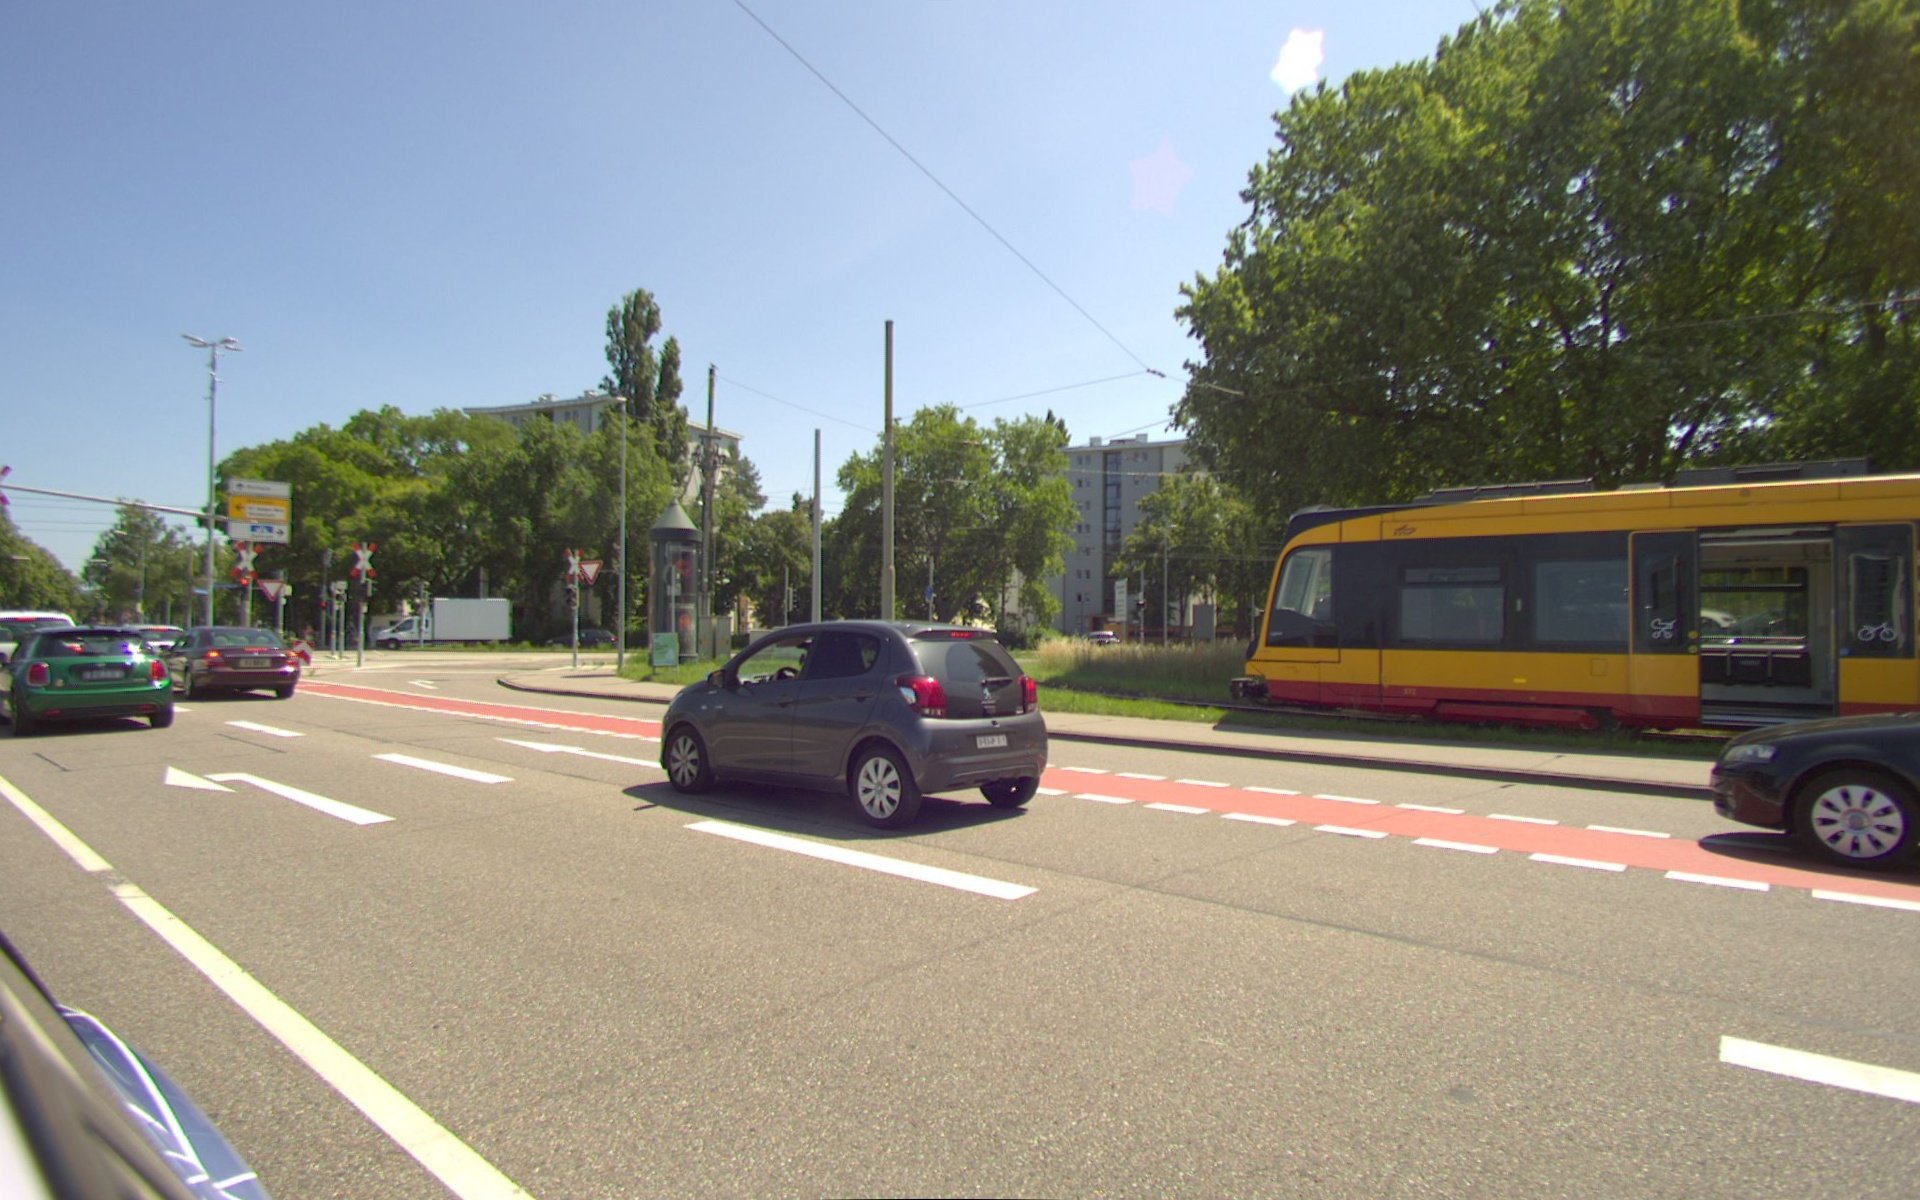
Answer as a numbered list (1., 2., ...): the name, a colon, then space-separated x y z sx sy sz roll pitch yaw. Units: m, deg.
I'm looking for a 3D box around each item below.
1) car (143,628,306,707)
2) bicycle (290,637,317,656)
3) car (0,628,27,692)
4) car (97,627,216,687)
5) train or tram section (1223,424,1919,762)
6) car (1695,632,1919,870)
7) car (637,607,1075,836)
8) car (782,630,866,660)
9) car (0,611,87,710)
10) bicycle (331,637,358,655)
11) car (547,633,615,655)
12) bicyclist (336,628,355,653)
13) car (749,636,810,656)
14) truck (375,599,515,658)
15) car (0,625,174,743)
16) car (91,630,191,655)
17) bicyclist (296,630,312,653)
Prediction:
1. car: -15.263 1.328 20.927 4.282 1.468 1.742 -2 -3 40
2. bicycle: -41.906 2.954 64.579 1.797 1.071 0.610 2 0 27
3. car: -23.594 1.395 23.945 3.958 1.448 1.750 -1 -1 40
4. car: -21.738 1.496 27.311 4.411 1.467 1.772 -2 -3 42
5. train or tram section: 10.295 0.024 13.475 12.963 3.788 2.990 -2 -4 35
6. car: 7.134 0.908 5.819 1.723 1.416 4.444 5 -5 -43
7. car: -0.964 0.848 8.290 3.500 1.467 1.605 -1 -4 41
8. car: -7.448 2.512 55.545 4.185 1.558 1.752 2 -5 -32
9. car: -18.470 1.123 19.524 4.828 1.736 1.793 -2 -2 41
10. bicycle: -39.993 2.984 65.793 1.797 1.071 0.610 2 0 27
11. car: -23.513 2.770 62.858 3.931 1.296 1.752 1 -5 -20
12. bicyclist: -39.930 2.636 65.748 0.905 1.556 0.642 2 0 27
13. car: -12.608 3.226 70.790 3.931 1.296 1.892 1 -5 -20
14. truck: -32.850 1.882 64.910 7.579 3.560 2.596 1 -5 -18
15. car: -12.844 1.112 14.659 3.990 1.474 1.704 -2 -2 43
16. car: -47.931 2.480 59.308 4.142 1.436 1.854 1 -3 -18
17. bicyclist: -41.869 2.648 64.563 0.626 1.479 0.611 1 0 26
